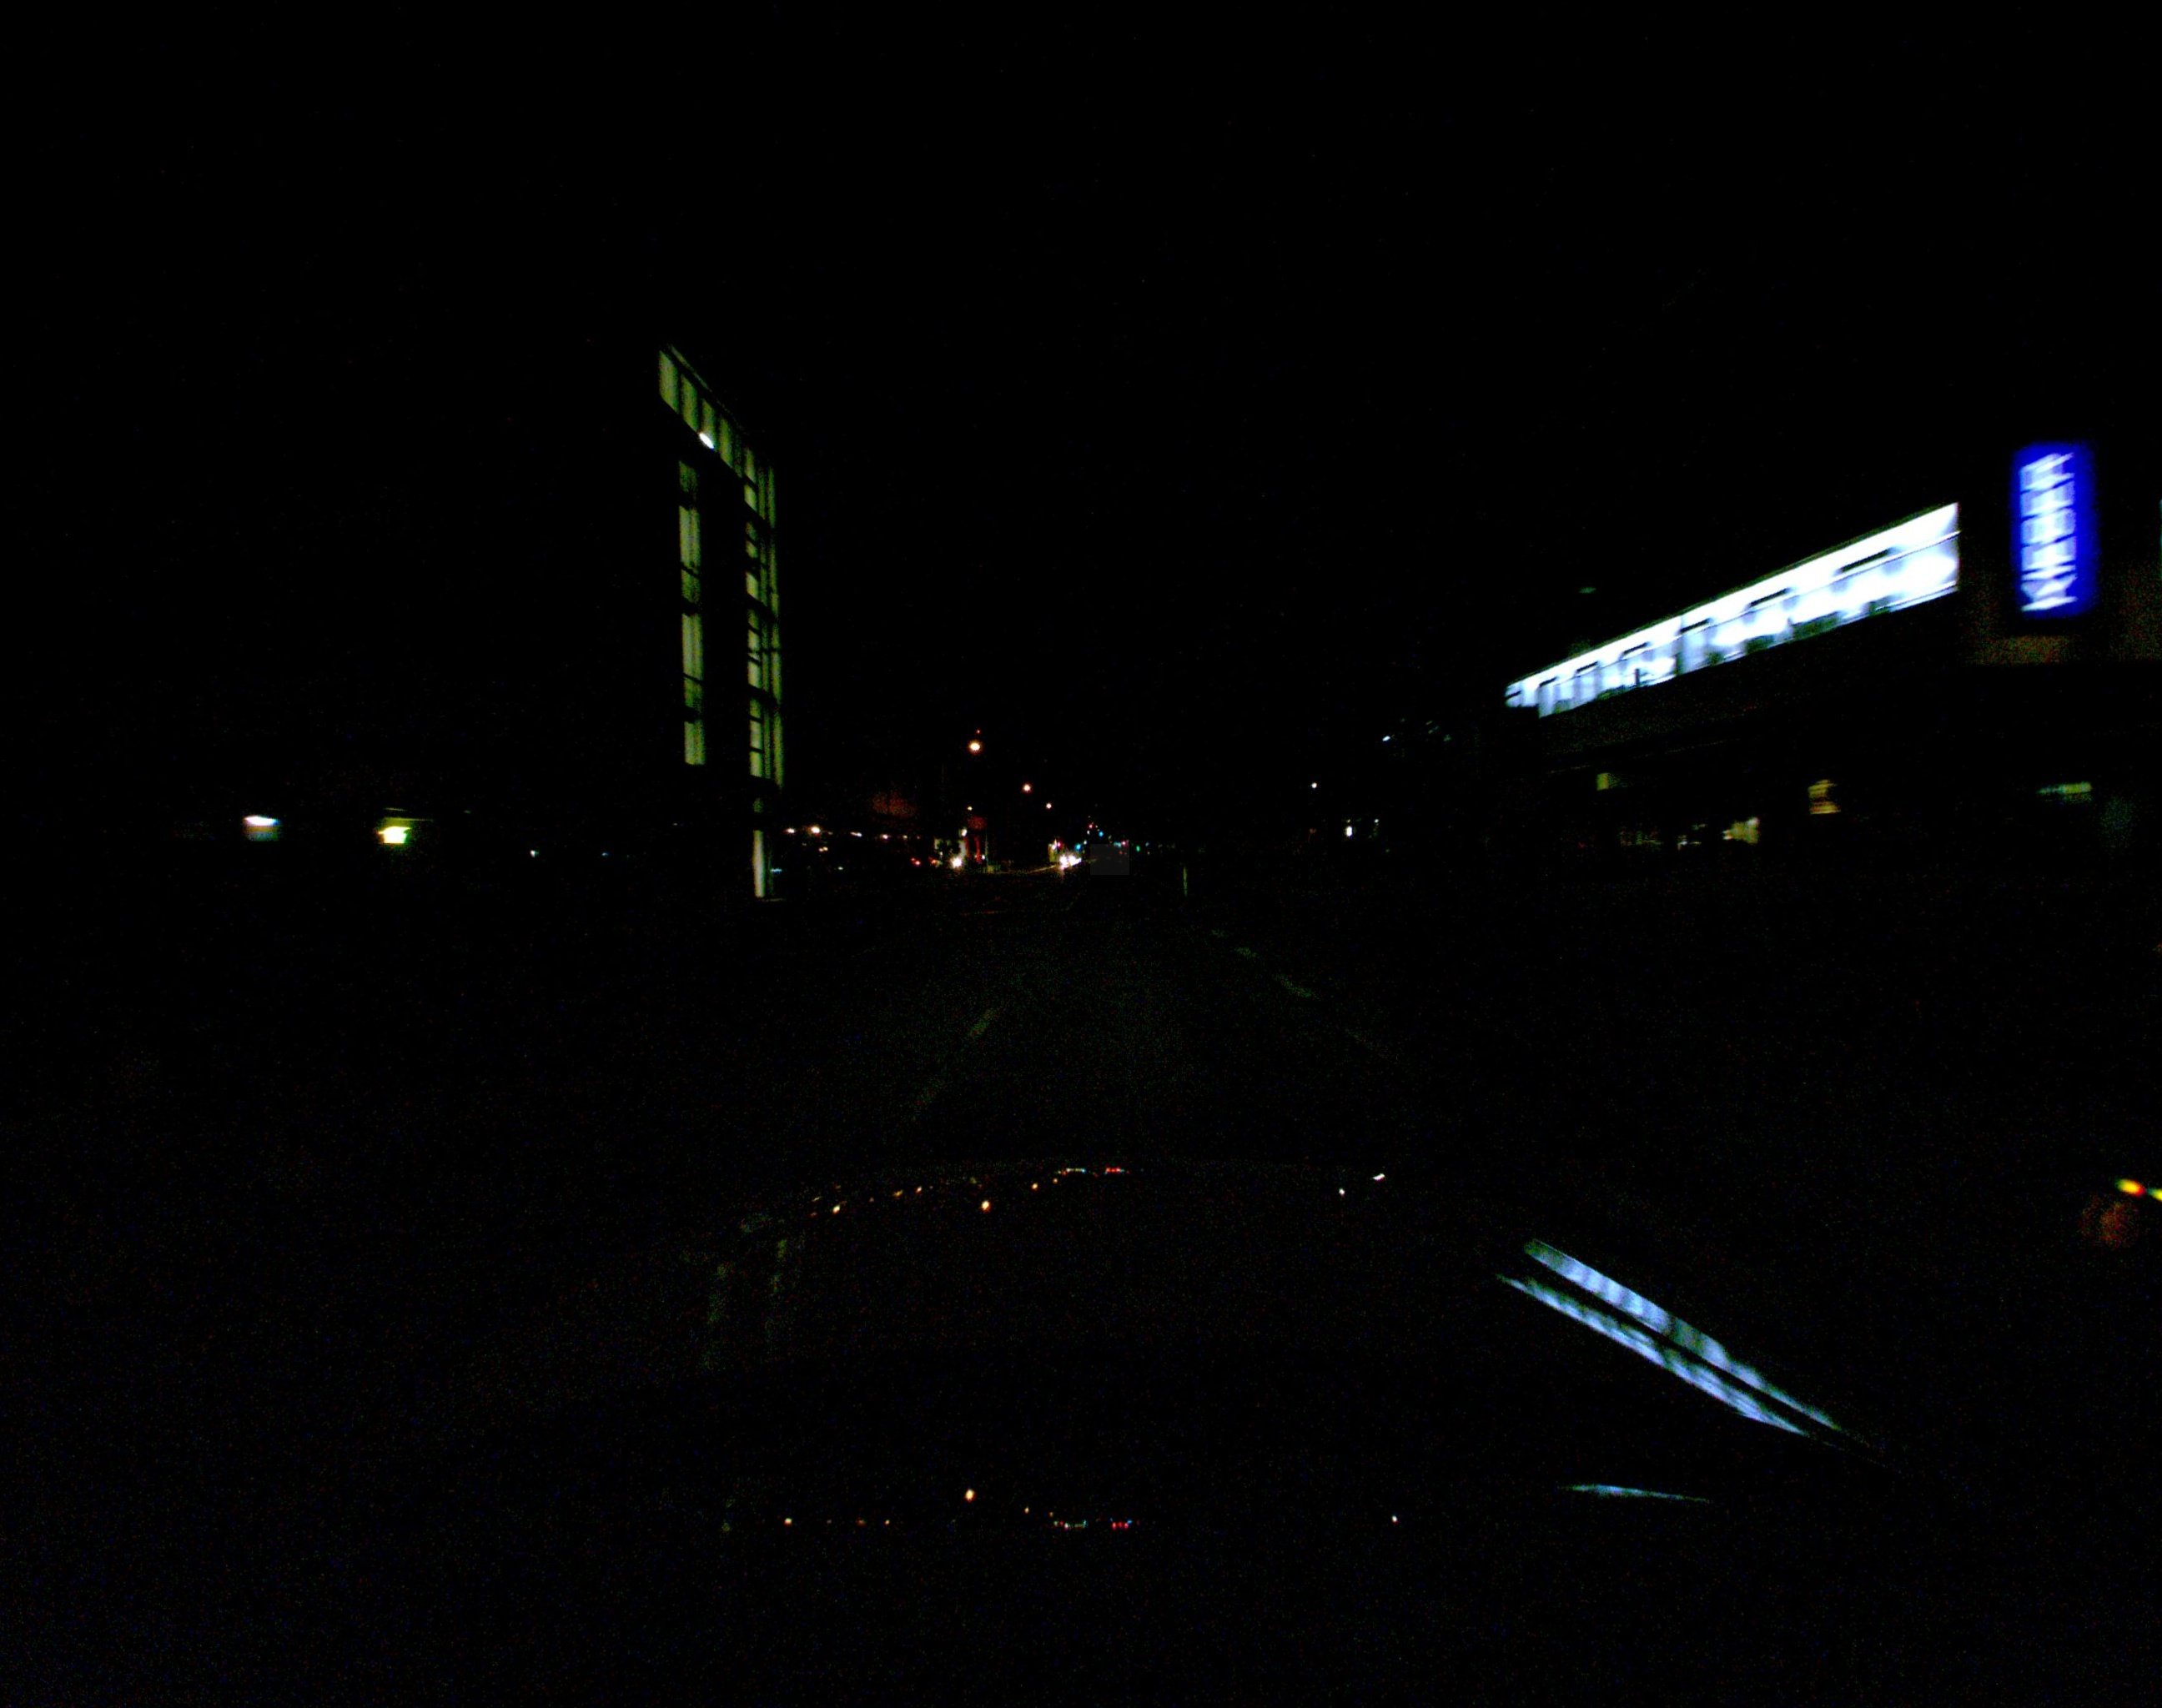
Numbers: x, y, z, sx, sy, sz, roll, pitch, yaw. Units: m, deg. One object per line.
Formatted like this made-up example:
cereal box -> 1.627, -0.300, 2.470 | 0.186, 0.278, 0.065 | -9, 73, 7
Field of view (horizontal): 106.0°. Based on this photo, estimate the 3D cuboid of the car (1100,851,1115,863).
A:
car -> 3.724, 0.400, 113.781 | 1.986, 1.643, 4.001 | -3, 0, 2

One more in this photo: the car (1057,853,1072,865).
car -> -2.486, 0.740, 121.294 | 1.987, 1.643, 4.000 | -3, 0, 1
